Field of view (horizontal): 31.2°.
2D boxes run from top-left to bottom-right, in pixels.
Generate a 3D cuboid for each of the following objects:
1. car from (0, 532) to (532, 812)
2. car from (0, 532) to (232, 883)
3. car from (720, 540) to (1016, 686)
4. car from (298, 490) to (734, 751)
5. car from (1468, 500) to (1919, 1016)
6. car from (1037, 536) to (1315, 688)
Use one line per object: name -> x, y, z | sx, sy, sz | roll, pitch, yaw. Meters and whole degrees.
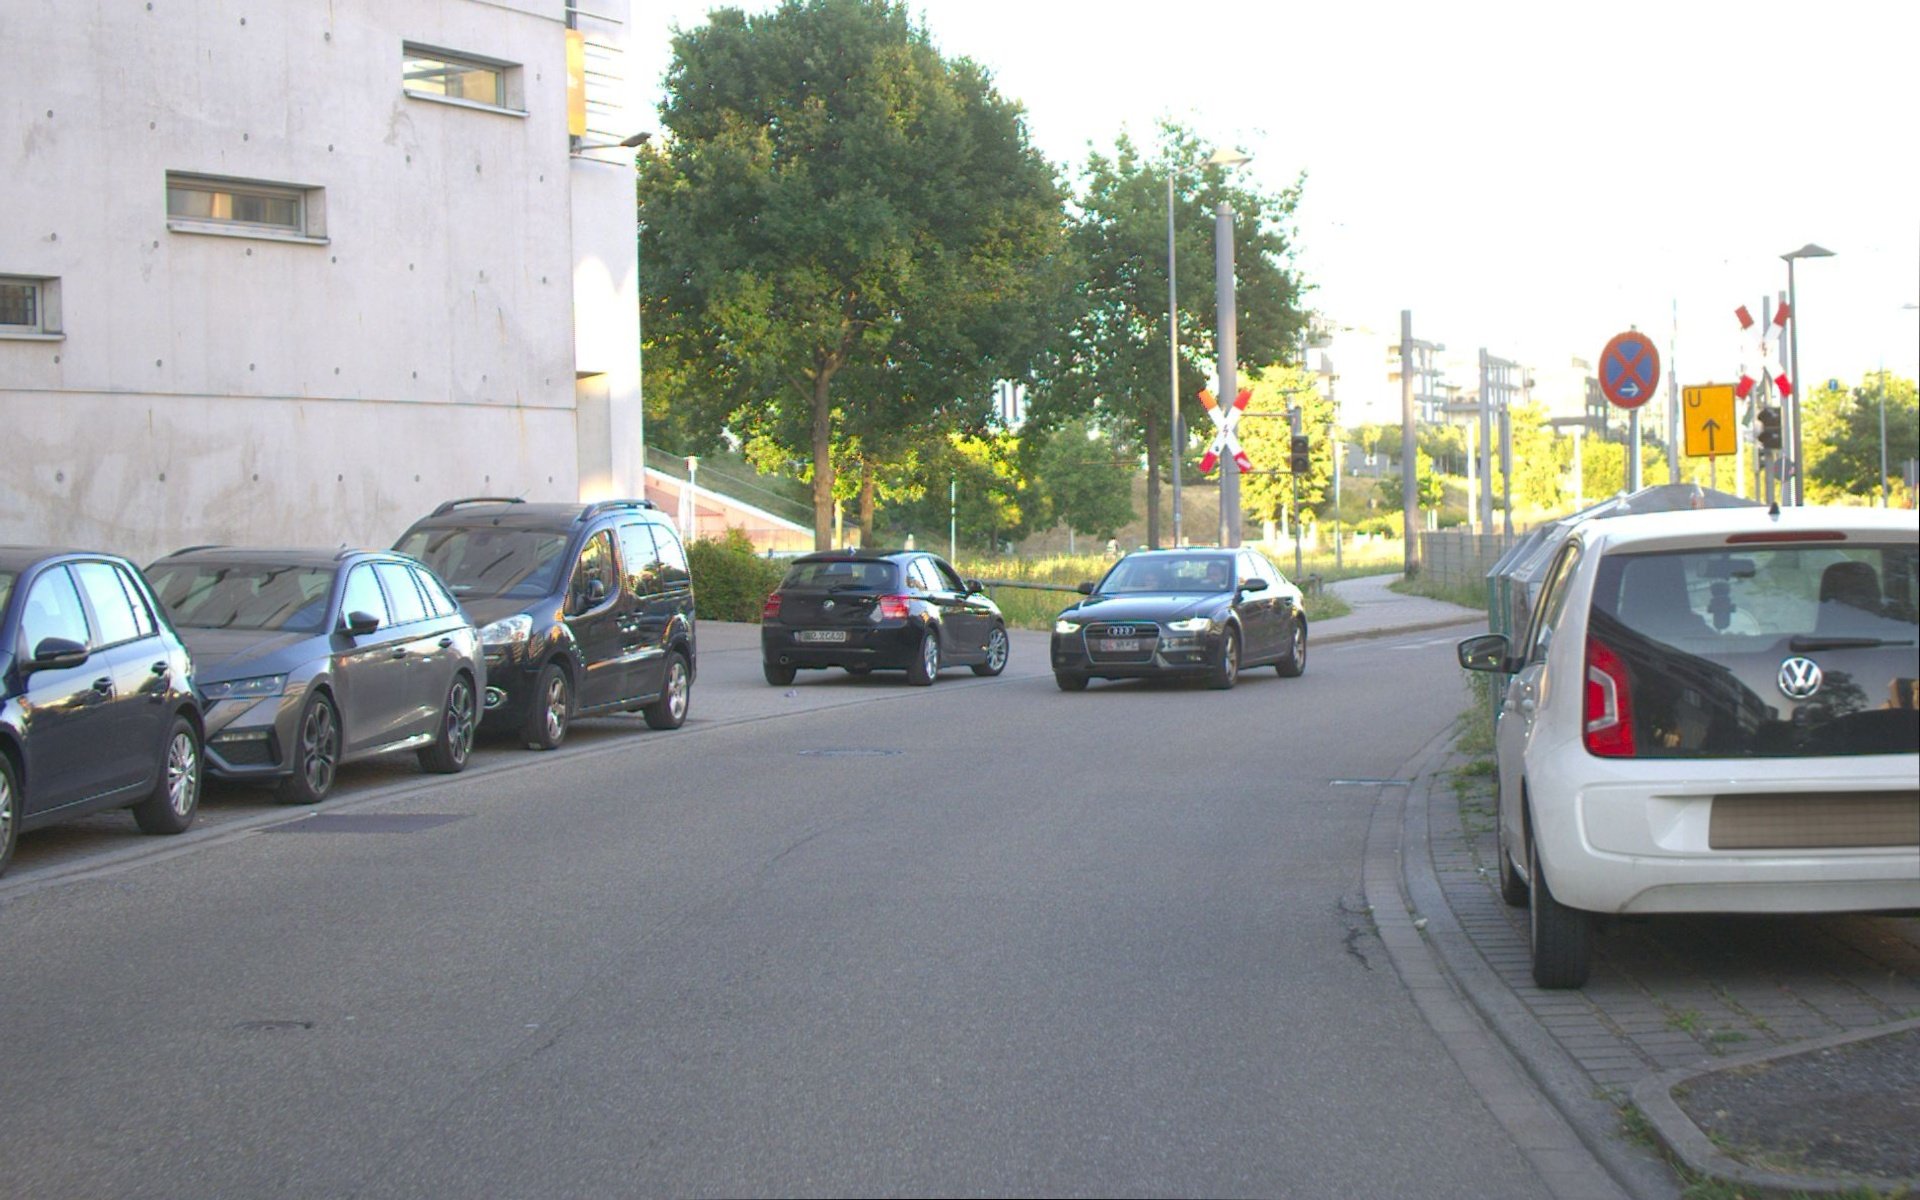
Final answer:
car -> -4.154, 0.346, 21.215 | 1.723, 1.452, 4.692 | 1, 2, 9
car -> -4.879, 0.442, 15.957 | 1.723, 1.452, 4.271 | 1, 2, 5
car -> -0.900, 0.087, 36.685 | 1.945, 1.378, 4.396 | 1, 2, 15
car -> -3.276, 0.075, 26.297 | 1.758, 1.792, 4.460 | 1, 2, 14
car -> 2.674, 0.419, 11.775 | 1.723, 1.462, 3.552 | -2, 2, 7
car -> 2.306, 0.079, 35.449 | 1.780, 1.417, 4.512 | 0, 1, 18
